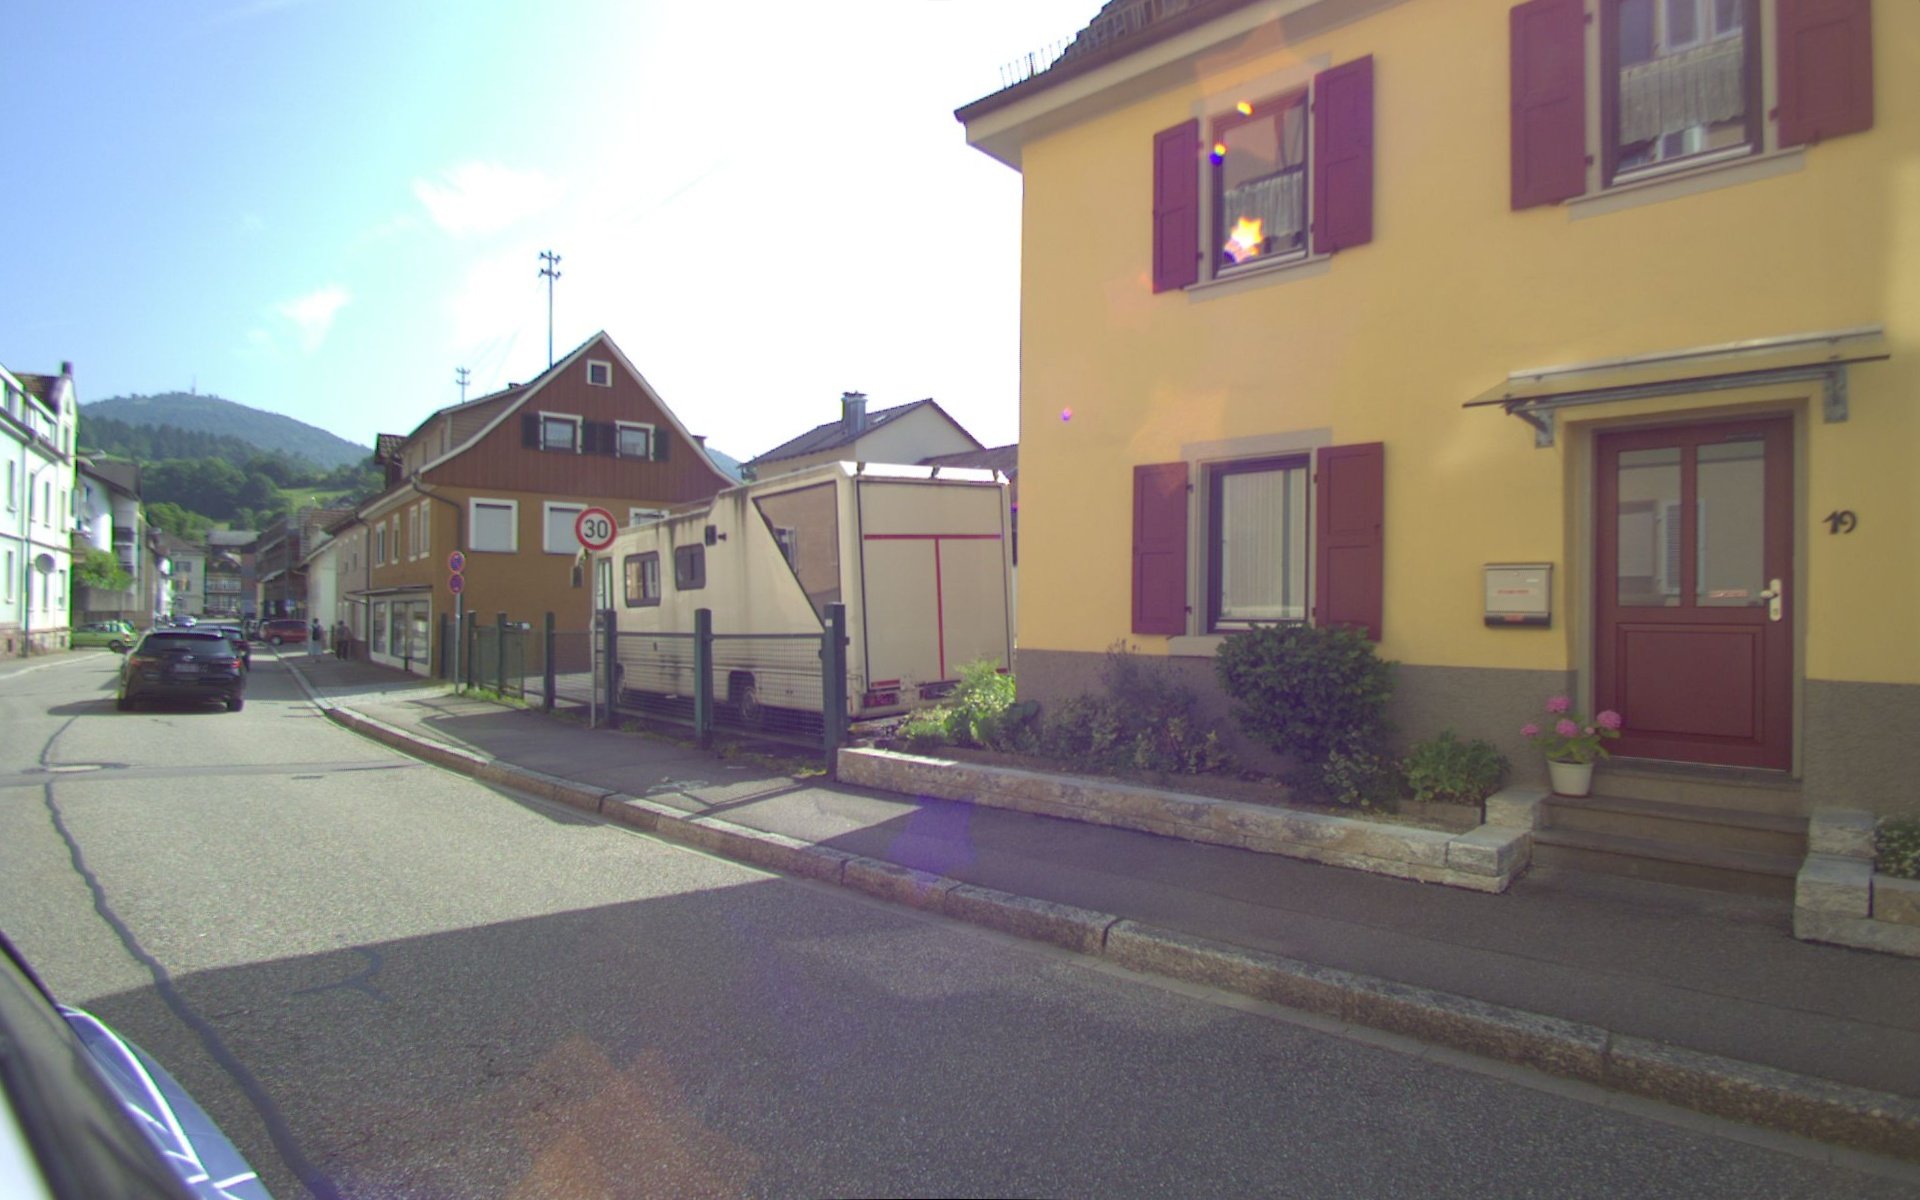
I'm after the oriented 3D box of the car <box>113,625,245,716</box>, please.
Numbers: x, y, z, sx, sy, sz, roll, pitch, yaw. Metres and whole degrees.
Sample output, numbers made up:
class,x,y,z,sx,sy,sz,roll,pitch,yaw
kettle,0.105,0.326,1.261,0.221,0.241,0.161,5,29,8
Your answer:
class,x,y,z,sx,sy,sz,roll,pitch,yaw
car,-14.210,1.235,18.436,1.637,1.460,4.267,5,-4,-38

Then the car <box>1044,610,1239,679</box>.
class,x,y,z,sx,sy,sz,roll,pitch,yaw
car,3.780,0.936,21.639,1.574,1.278,4.007,-2,-1,-39

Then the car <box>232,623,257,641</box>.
class,x,y,z,sx,sy,sz,roll,pitch,yaw
car,-65.394,2.893,92.467,1.652,1.567,3.772,0,-1,-38

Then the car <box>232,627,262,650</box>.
class,x,y,z,sx,sy,sz,roll,pitch,yaw
car,-57.550,3.056,81.618,1.698,1.810,4.277,1,-2,-39

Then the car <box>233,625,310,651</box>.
class,x,y,z,sx,sy,sz,roll,pitch,yaw
car,-45.165,2.492,66.453,3.930,1.675,1.829,1,-3,-26

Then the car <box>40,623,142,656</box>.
class,x,y,z,sx,sy,sz,roll,pitch,yaw
car,-45.036,2.065,52.510,3.596,1.475,1.607,4,-4,-22

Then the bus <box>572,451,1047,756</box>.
class,x,y,z,sx,sy,sz,roll,pitch,yaw
bus,-2.885,0.091,15.200,2.784,3.252,9.052,-2,0,-39

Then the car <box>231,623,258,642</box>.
class,x,y,z,sx,sy,sz,roll,pitch,yaw
car,-61.329,2.769,86.716,1.653,1.601,3.957,0,-2,-38

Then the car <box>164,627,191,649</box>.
class,x,y,z,sx,sy,sz,roll,pitch,yaw
car,-79.131,3.834,102.312,1.968,2.029,4.007,0,0,-40

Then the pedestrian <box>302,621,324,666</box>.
class,x,y,z,sx,sy,sz,roll,pitch,yaw
pedestrian,-24.569,1.643,38.439,0.631,1.638,0.779,-2,0,-35

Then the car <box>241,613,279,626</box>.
class,x,y,z,sx,sy,sz,roll,pitch,yaw
car,-93.169,2.613,134.740,1.835,1.697,3.941,-3,-4,44

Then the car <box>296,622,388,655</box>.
class,x,y,z,sx,sy,sz,roll,pitch,yaw
car,-32.556,1.989,53.366,3.936,1.606,1.911,0,-1,-39

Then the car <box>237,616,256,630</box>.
class,x,y,z,sx,sy,sz,roll,pitch,yaw
car,-89.216,2.837,126.578,1.759,1.587,3.897,-2,1,-37

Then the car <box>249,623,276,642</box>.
class,x,y,z,sx,sy,sz,roll,pitch,yaw
car,-54.064,2.513,78.425,1.644,1.443,3.577,-1,-1,-36

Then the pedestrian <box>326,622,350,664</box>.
class,x,y,z,sx,sy,sz,roll,pitch,yaw
pedestrian,-23.873,1.647,38.827,0.725,1.576,0.826,-1,-1,-36

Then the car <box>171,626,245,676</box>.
class,x,y,z,sx,sy,sz,roll,pitch,yaw
car,-24.828,1.654,33.373,1.725,1.464,4.035,6,-4,-38
